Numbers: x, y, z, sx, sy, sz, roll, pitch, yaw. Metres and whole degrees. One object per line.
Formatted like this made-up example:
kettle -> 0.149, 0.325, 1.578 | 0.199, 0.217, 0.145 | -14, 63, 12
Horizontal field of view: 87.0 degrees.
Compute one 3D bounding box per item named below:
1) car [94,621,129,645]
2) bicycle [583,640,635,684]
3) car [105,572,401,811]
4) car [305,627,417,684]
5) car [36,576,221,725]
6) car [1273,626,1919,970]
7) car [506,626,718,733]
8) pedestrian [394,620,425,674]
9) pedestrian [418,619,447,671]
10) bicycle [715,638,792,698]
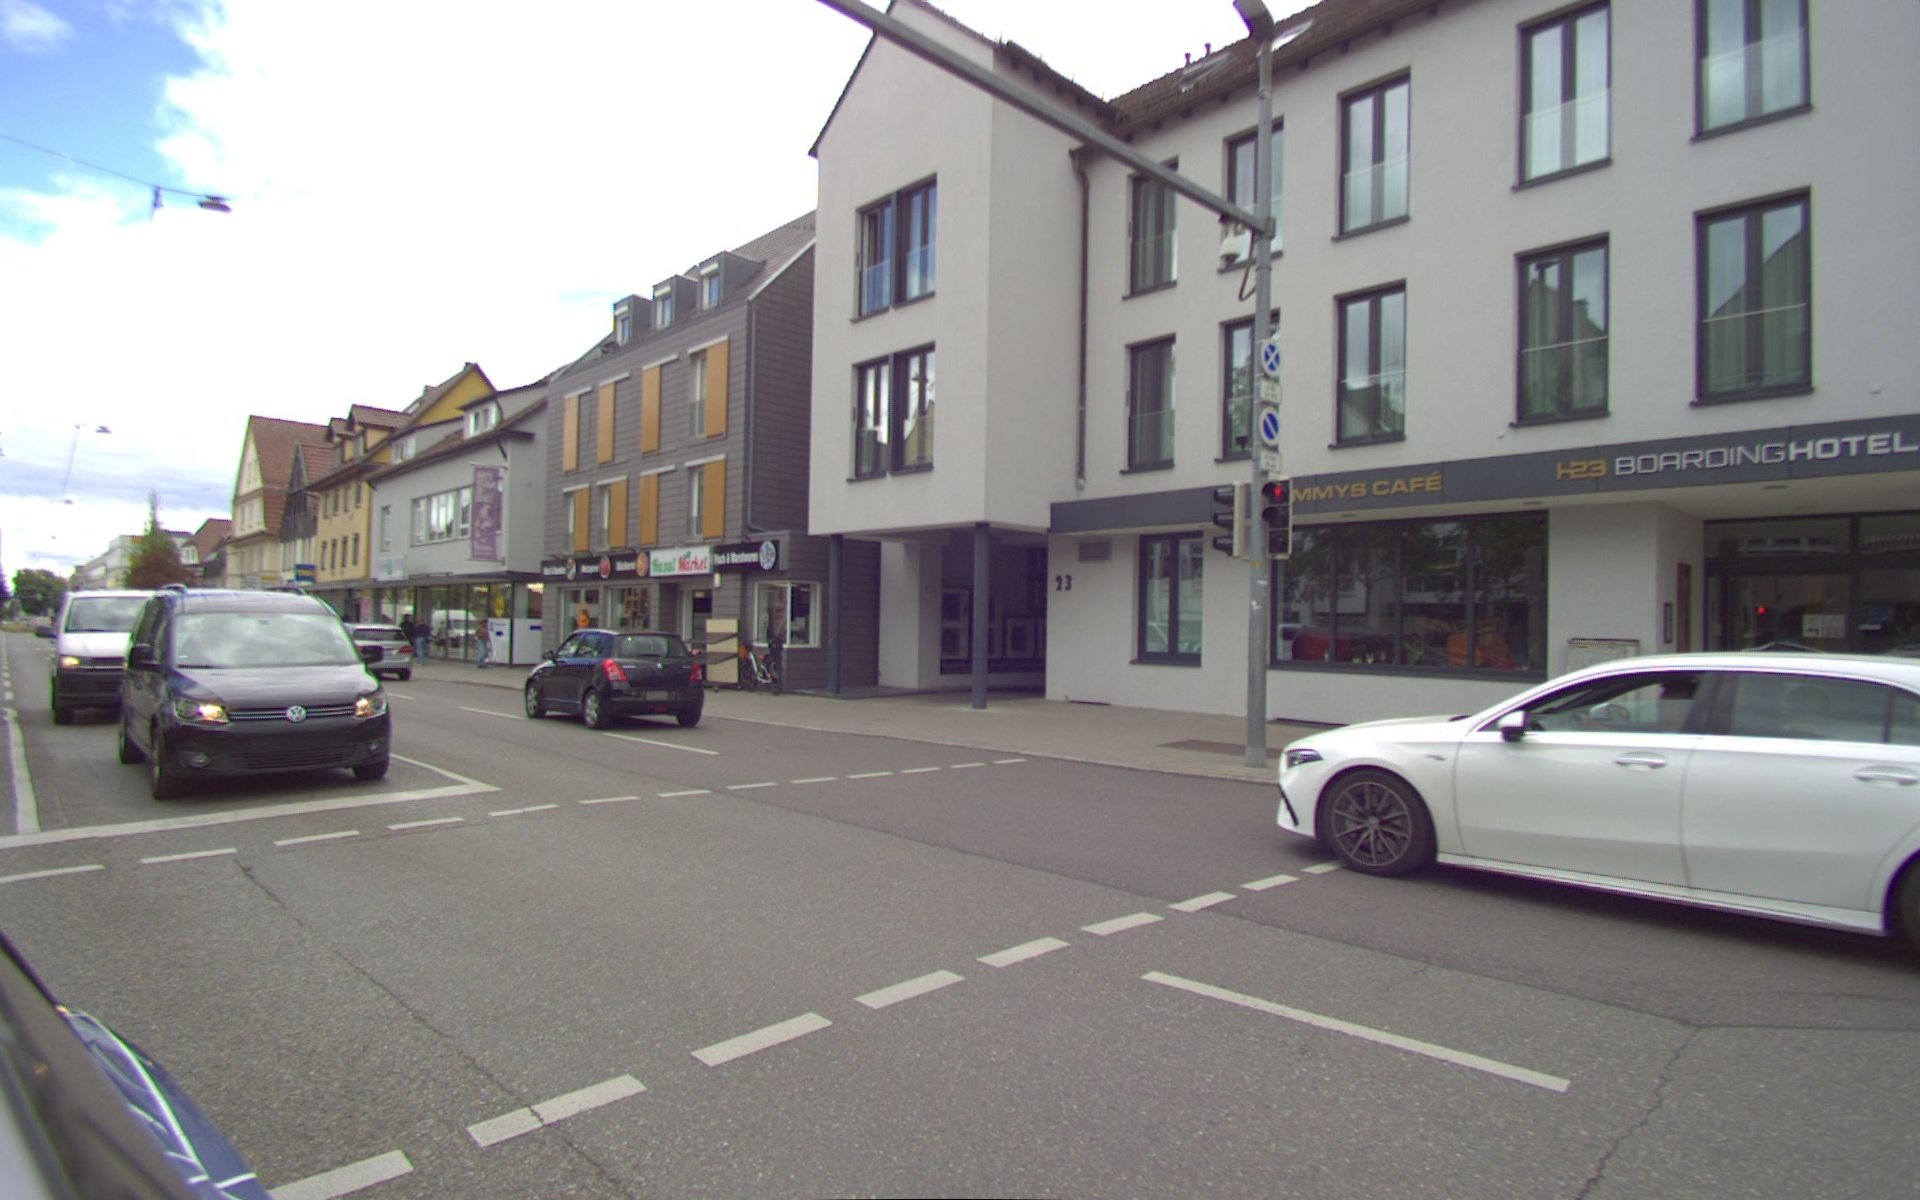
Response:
car -> -73.421, 2.822, 87.545 | 1.900, 1.984, 4.773 | 4, -4, -44
bicycle -> -9.260, 1.616, 26.683 | 0.565, 1.109, 1.904 | 1, -2, -43
car -> -7.156, 0.735, 10.019 | 1.688, 1.834, 4.575 | 0, -1, -44
car -> -16.897, 1.520, 28.469 | 1.847, 1.497, 4.003 | 2, -3, -44
car -> -13.431, 0.728, 16.226 | 1.970, 2.029, 4.844 | 0, -1, -43
car -> 4.101, 0.903, 5.611 | 1.723, 1.470, 4.238 | 3, -4, -44
car -> -5.567, 1.177, 15.951 | 1.723, 1.470, 3.821 | 3, -3, -43
pedestrian -> -19.347, 1.645, 35.565 | 0.698, 1.853, 1.029 | 2, -3, -42
pedestrian -> -18.794, 1.596, 36.068 | 0.698, 1.795, 0.871 | 2, -3, -42
bicycle -> -4.496, 1.446, 21.969 | 0.575, 1.241, 2.121 | 2, -2, -45
